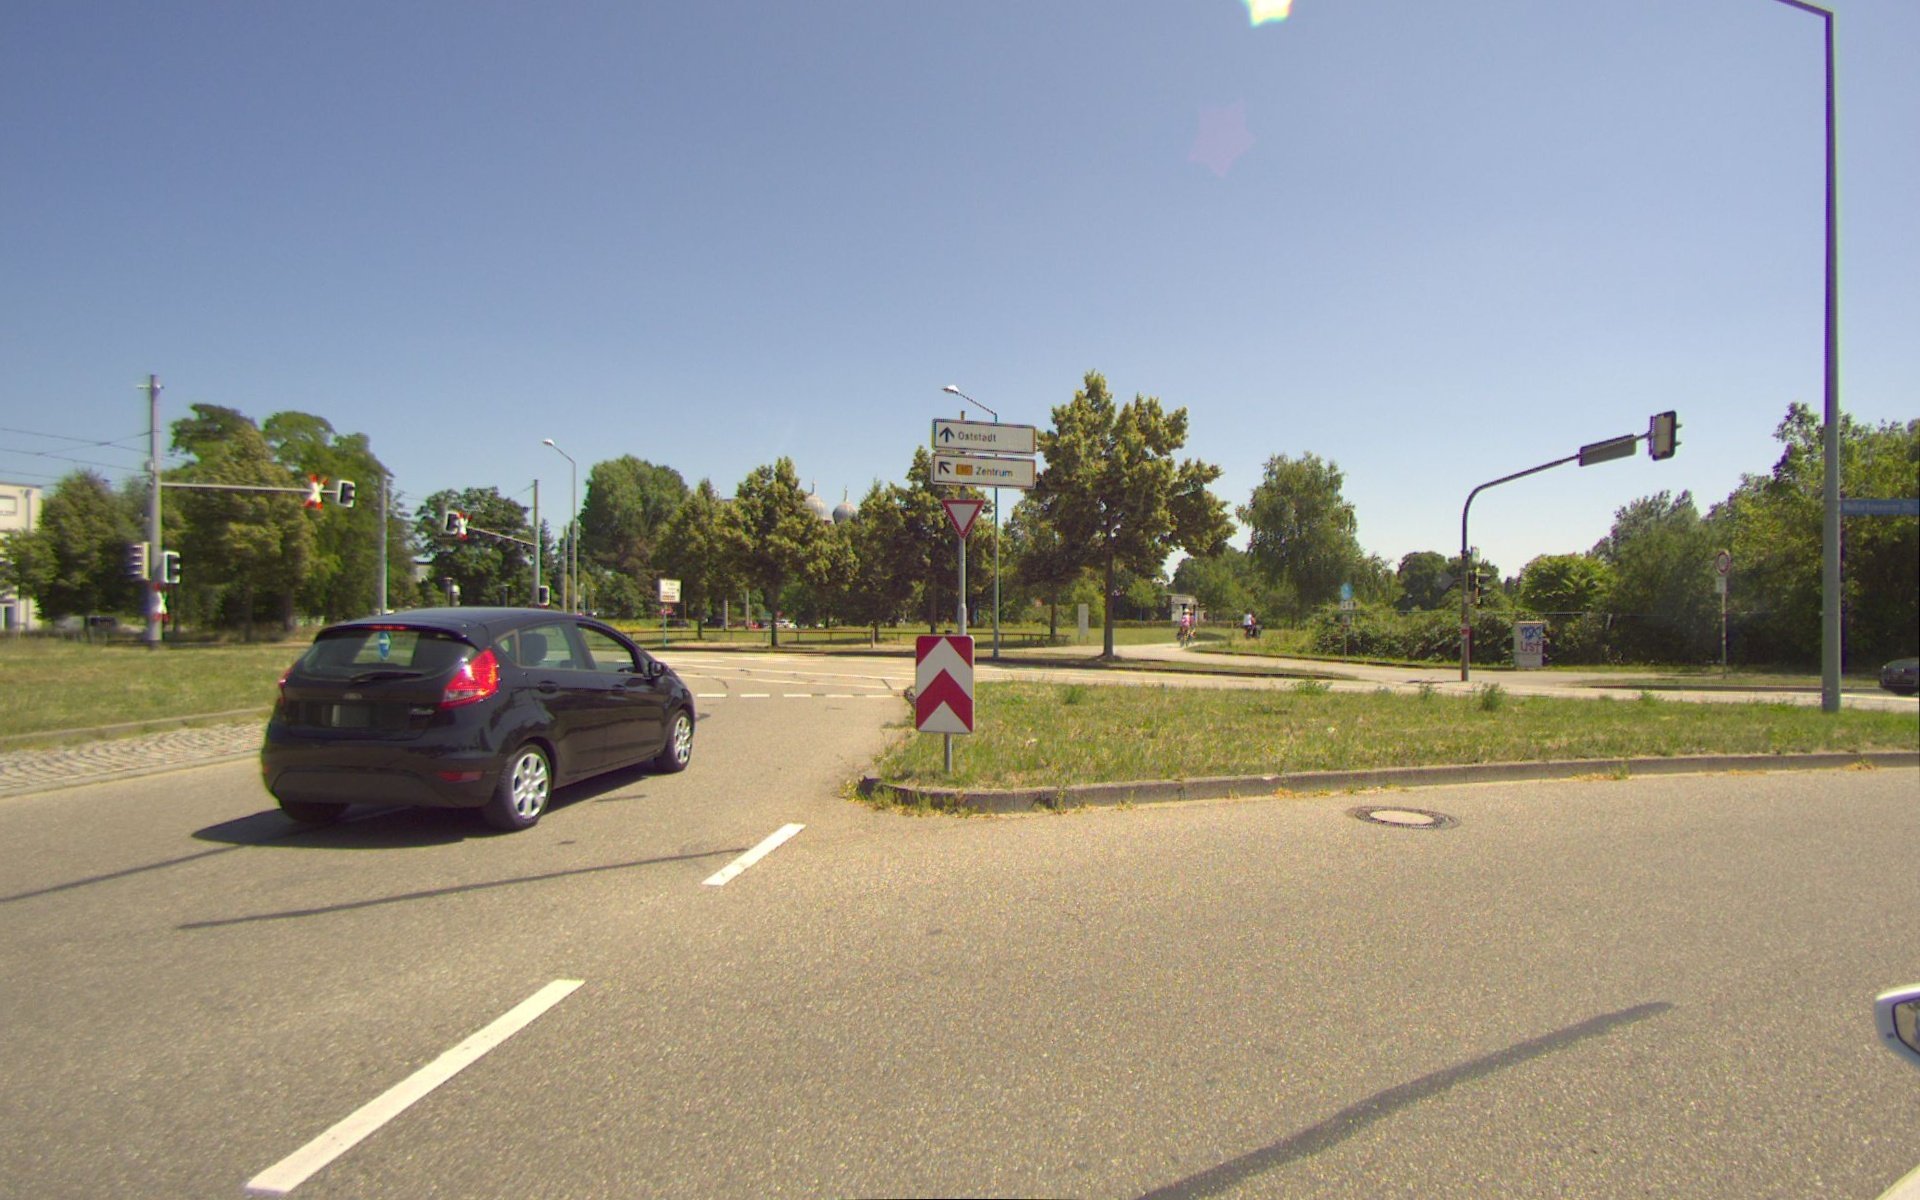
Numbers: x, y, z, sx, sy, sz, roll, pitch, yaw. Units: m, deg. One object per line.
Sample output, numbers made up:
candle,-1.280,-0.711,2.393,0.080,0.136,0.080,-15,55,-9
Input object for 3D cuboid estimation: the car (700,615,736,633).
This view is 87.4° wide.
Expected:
car,-28.958,2.893,120.241,3.923,2.040,1.999,1,-2,-4

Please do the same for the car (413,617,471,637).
car,-43.926,2.285,85.234,3.926,1.594,1.998,1,-2,-7

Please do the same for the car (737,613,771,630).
car,-26.004,2.765,127.036,3.923,2.040,1.999,1,-2,-4

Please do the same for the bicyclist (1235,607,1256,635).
bicyclist,16.592,1.228,58.368,0.970,1.635,0.747,3,-3,-40

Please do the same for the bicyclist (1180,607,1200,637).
bicyclist,12.354,1.180,53.912,0.941,1.552,1.186,0,0,18

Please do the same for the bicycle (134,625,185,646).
bicycle,-43.756,1.962,54.931,2.037,1.129,0.723,2,-3,-34

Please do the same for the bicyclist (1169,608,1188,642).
bicyclist,10.810,1.237,49.673,0.940,1.631,1.187,0,-2,13

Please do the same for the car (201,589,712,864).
car,-3.419,0.740,7.727,1.601,1.528,3.821,2,0,8

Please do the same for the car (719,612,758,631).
car,-24.791,2.458,112.559,3.923,2.040,1.999,1,-2,-4

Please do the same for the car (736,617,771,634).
car,-25.640,3.140,124.893,3.923,2.040,1.999,1,-2,-4

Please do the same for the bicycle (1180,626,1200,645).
bicycle,12.324,1.882,53.827,0.881,0.912,1.762,1,1,18

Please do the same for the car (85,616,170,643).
car,-55.649,2.009,67.193,1.967,1.706,3.988,-1,-3,35

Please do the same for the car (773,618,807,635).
car,-22.360,3.498,132.148,3.920,2.040,2.001,1,-2,3

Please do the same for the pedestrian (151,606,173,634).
pedestrian,-43.672,1.106,54.980,0.810,1.469,0.703,2,-3,-34

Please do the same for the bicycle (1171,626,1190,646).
bicycle,10.954,1.792,49.837,0.880,0.912,2.228,1,-2,13

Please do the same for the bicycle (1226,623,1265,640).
bicycle,16.577,1.817,58.355,2.907,0.924,0.732,3,-3,-41

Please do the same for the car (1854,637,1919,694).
car,24.083,1.540,23.735,4.321,1.287,1.864,0,-1,-1
